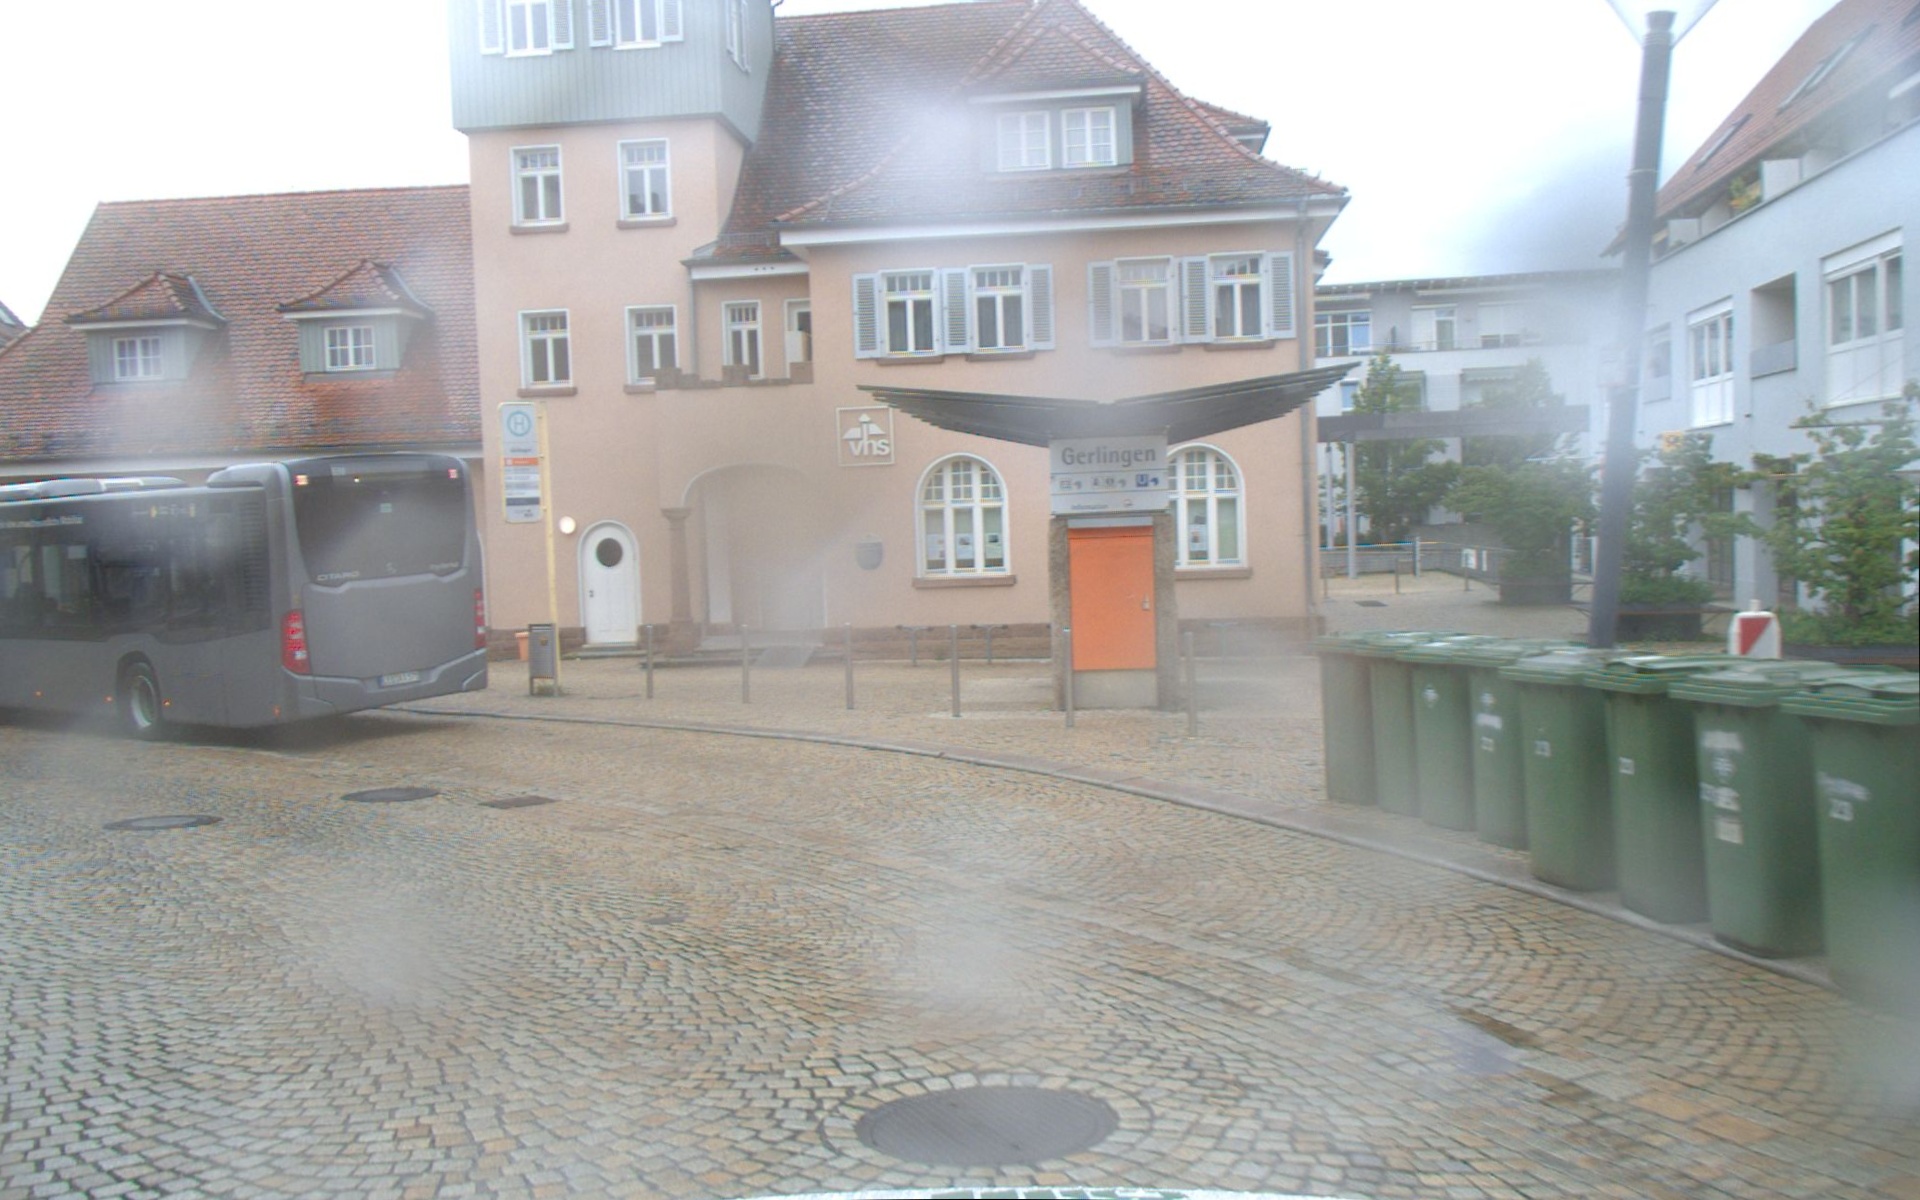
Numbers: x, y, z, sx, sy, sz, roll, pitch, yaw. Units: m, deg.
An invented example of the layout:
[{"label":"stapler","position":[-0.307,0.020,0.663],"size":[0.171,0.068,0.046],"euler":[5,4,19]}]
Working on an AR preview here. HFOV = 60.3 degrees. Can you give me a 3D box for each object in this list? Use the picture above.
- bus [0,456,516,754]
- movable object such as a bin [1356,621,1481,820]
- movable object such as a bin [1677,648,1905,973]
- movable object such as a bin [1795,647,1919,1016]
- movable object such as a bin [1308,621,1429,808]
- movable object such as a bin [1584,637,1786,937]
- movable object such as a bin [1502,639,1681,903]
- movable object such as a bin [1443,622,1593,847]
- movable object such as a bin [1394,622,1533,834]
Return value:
[{"label":"bus","position":[-10.157,0.009,21.078],"size":[10.347,3.041,2.779],"euler":[-1,3,37]},{"label":"movable object such as a bin","position":[2.786,0.713,10.076],"size":[0.527,1.146,0.538],"euler":[-2,0,-10]},{"label":"movable object such as a bin","position":[3.180,0.779,6.360],"size":[0.549,1.146,0.540],"euler":[-2,0,-10]},{"label":"movable object such as a bin","position":[3.276,0.751,5.615],"size":[0.549,1.146,0.549],"euler":[-2,0,-10]},{"label":"movable object such as a bin","position":[2.634,0.723,10.700],"size":[0.529,1.146,0.536],"euler":[-2,0,-20]},{"label":"movable object such as a bin","position":[3.055,0.763,7.002],"size":[0.549,1.180,0.549],"euler":[-2,0,-10]},{"label":"movable object such as a bin","position":[2.929,0.771,7.700],"size":[0.549,1.146,0.549],"euler":[-2,0,-10]},{"label":"movable object such as a bin","position":[3.012,0.705,8.954],"size":[0.549,1.146,0.549],"euler":[-2,0,-10]},{"label":"movable object such as a bin","position":[2.880,0.715,9.493],"size":[0.549,1.146,0.549],"euler":[-2,0,-10]}]
